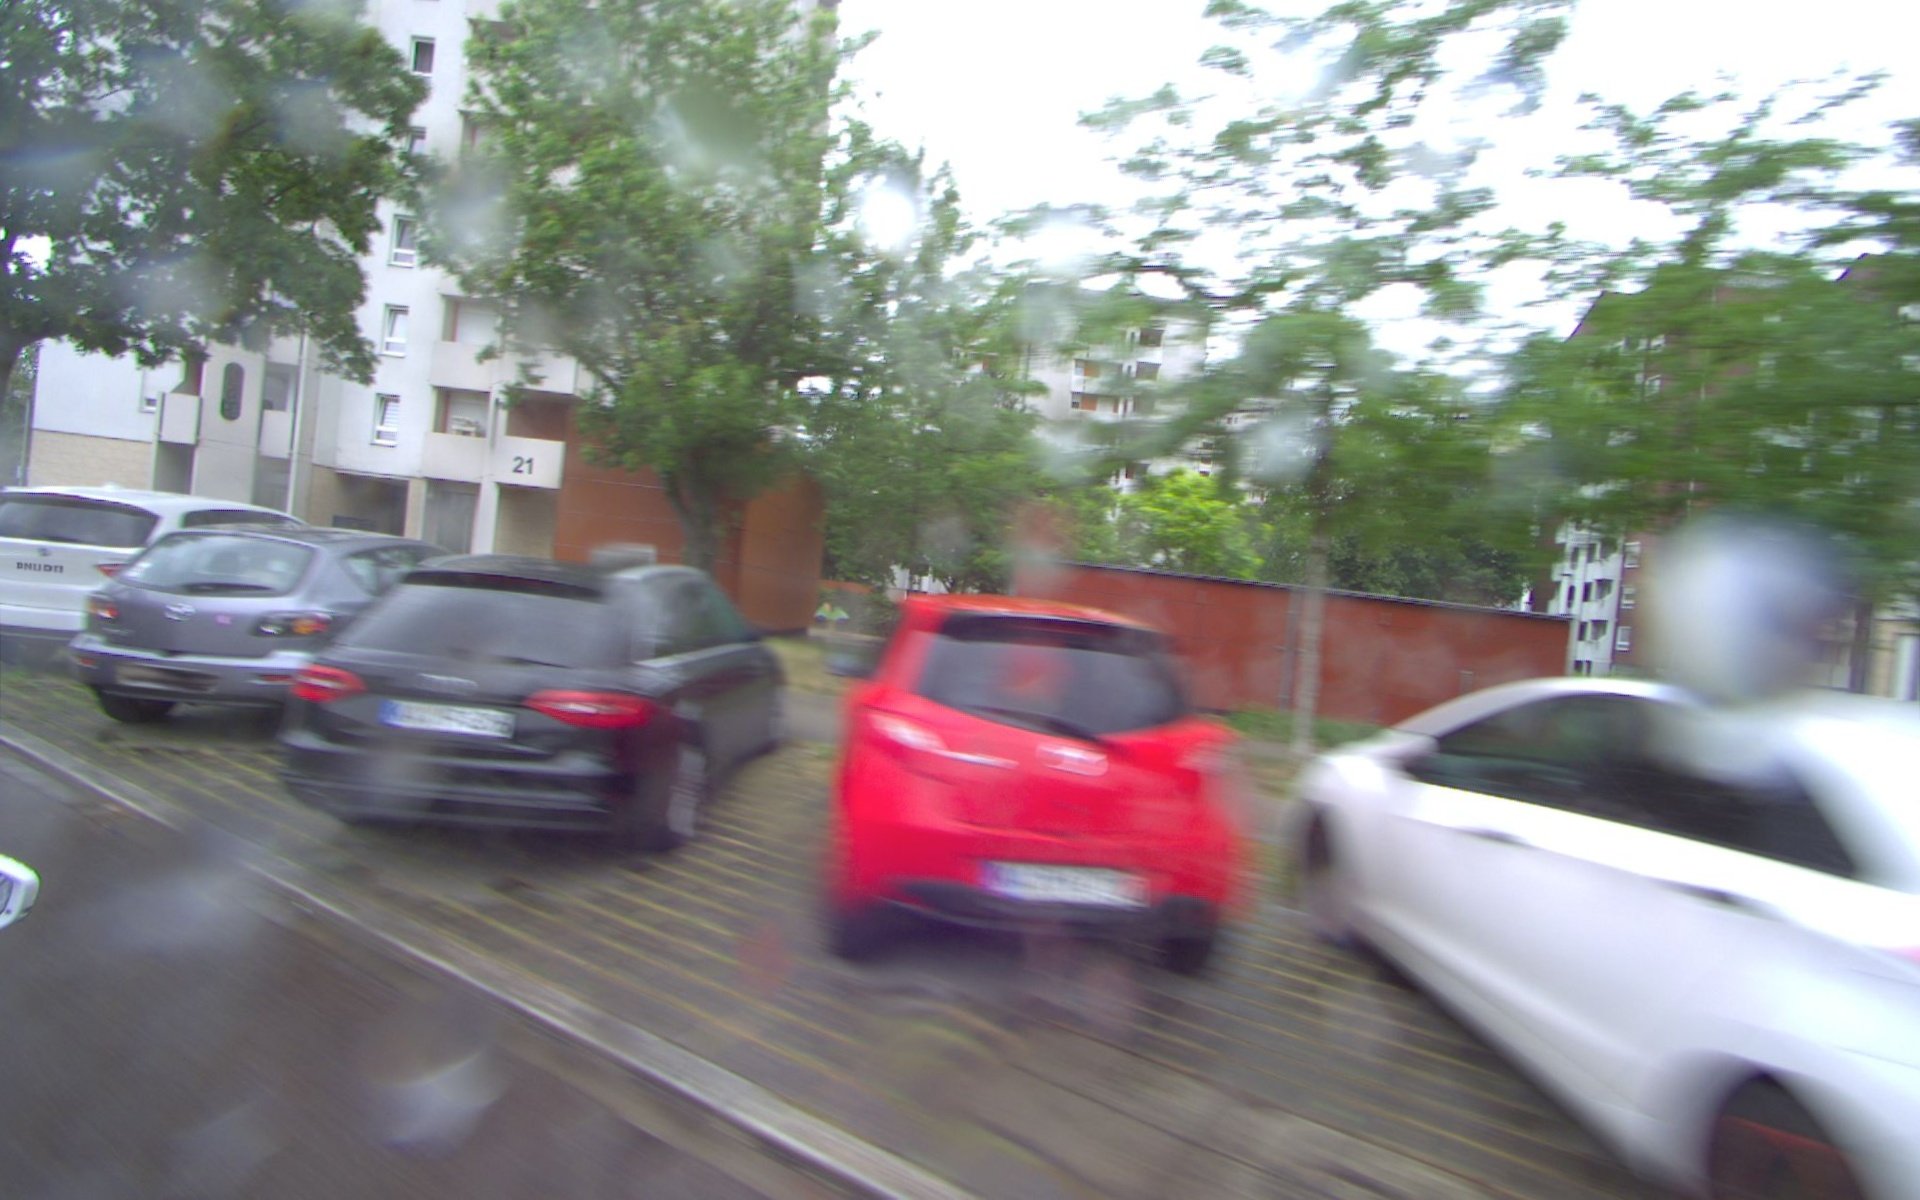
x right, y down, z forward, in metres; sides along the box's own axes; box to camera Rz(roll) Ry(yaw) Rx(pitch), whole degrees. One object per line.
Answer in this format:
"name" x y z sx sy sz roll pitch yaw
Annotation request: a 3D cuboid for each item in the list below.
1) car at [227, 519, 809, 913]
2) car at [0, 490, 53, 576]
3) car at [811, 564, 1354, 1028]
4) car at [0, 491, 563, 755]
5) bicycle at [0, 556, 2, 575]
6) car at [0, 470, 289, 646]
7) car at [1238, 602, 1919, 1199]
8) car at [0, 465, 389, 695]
"car" -2.127 0.400 6.300 1.653 1.447 4.455 6 2 -1
"car" -17.221 -1.173 16.271 1.654 1.451 3.938 6 2 -4
"car" 0.228 0.634 5.708 1.777 1.447 4.452 6 2 -6
"car" -5.028 0.065 8.330 1.736 1.429 4.454 6 2 -2
"bicycle" -6.419 0.207 5.862 1.914 1.106 0.537 5 -1 27
"car" -10.136 -0.556 11.952 1.654 1.694 4.178 6 2 -4
"car" 2.664 0.929 3.678 1.786 1.485 4.454 6 2 -2
"car" -7.656 -0.291 9.969 1.781 1.694 4.451 6 2 -7
